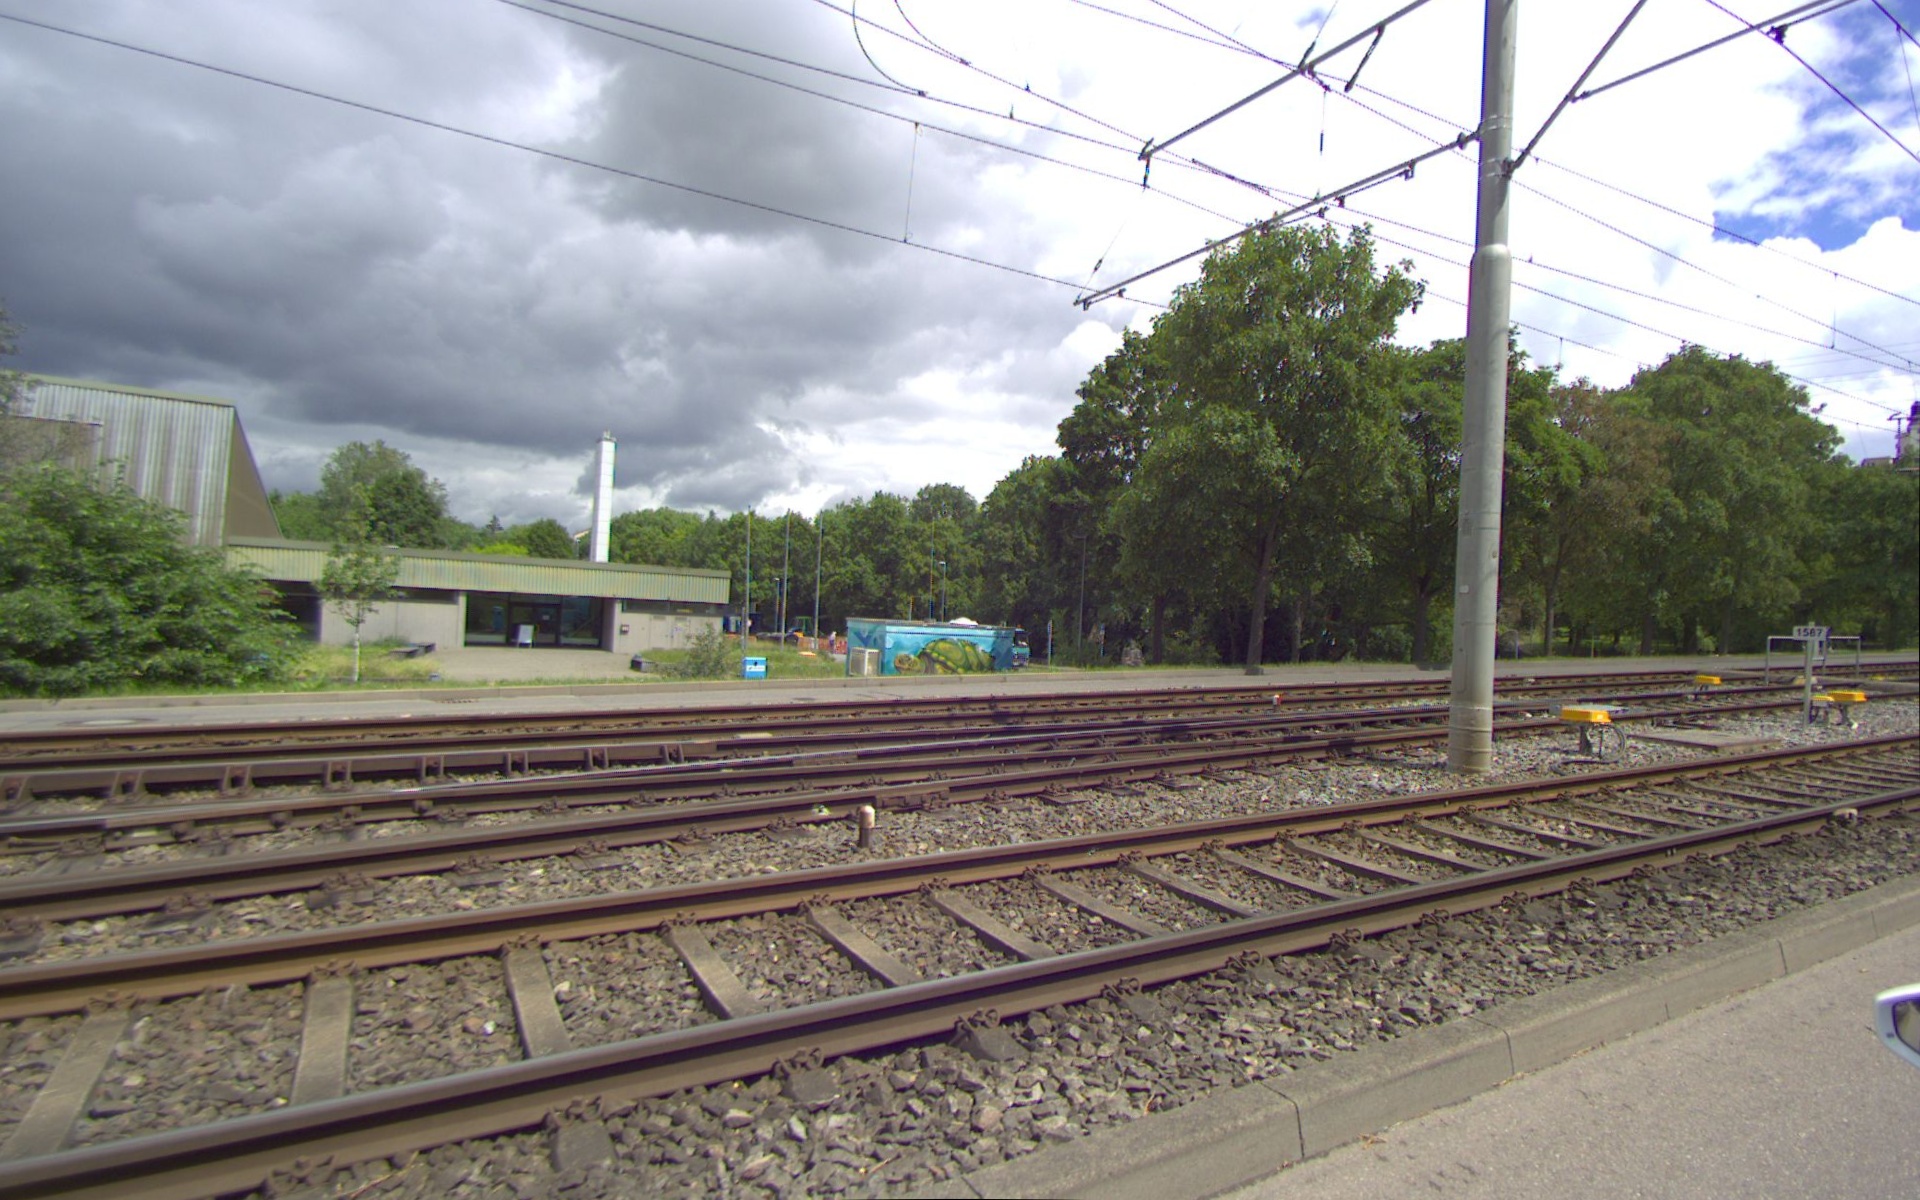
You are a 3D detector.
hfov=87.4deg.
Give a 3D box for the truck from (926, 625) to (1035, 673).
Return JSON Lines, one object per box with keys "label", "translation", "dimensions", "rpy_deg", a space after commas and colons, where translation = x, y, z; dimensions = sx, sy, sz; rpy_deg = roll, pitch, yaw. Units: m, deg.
{"label": "truck", "translation": [1.082, 2.956, 62.344], "dimensions": [2.583, 2.731, 9.051], "rpy_deg": [1, -2, -29]}
